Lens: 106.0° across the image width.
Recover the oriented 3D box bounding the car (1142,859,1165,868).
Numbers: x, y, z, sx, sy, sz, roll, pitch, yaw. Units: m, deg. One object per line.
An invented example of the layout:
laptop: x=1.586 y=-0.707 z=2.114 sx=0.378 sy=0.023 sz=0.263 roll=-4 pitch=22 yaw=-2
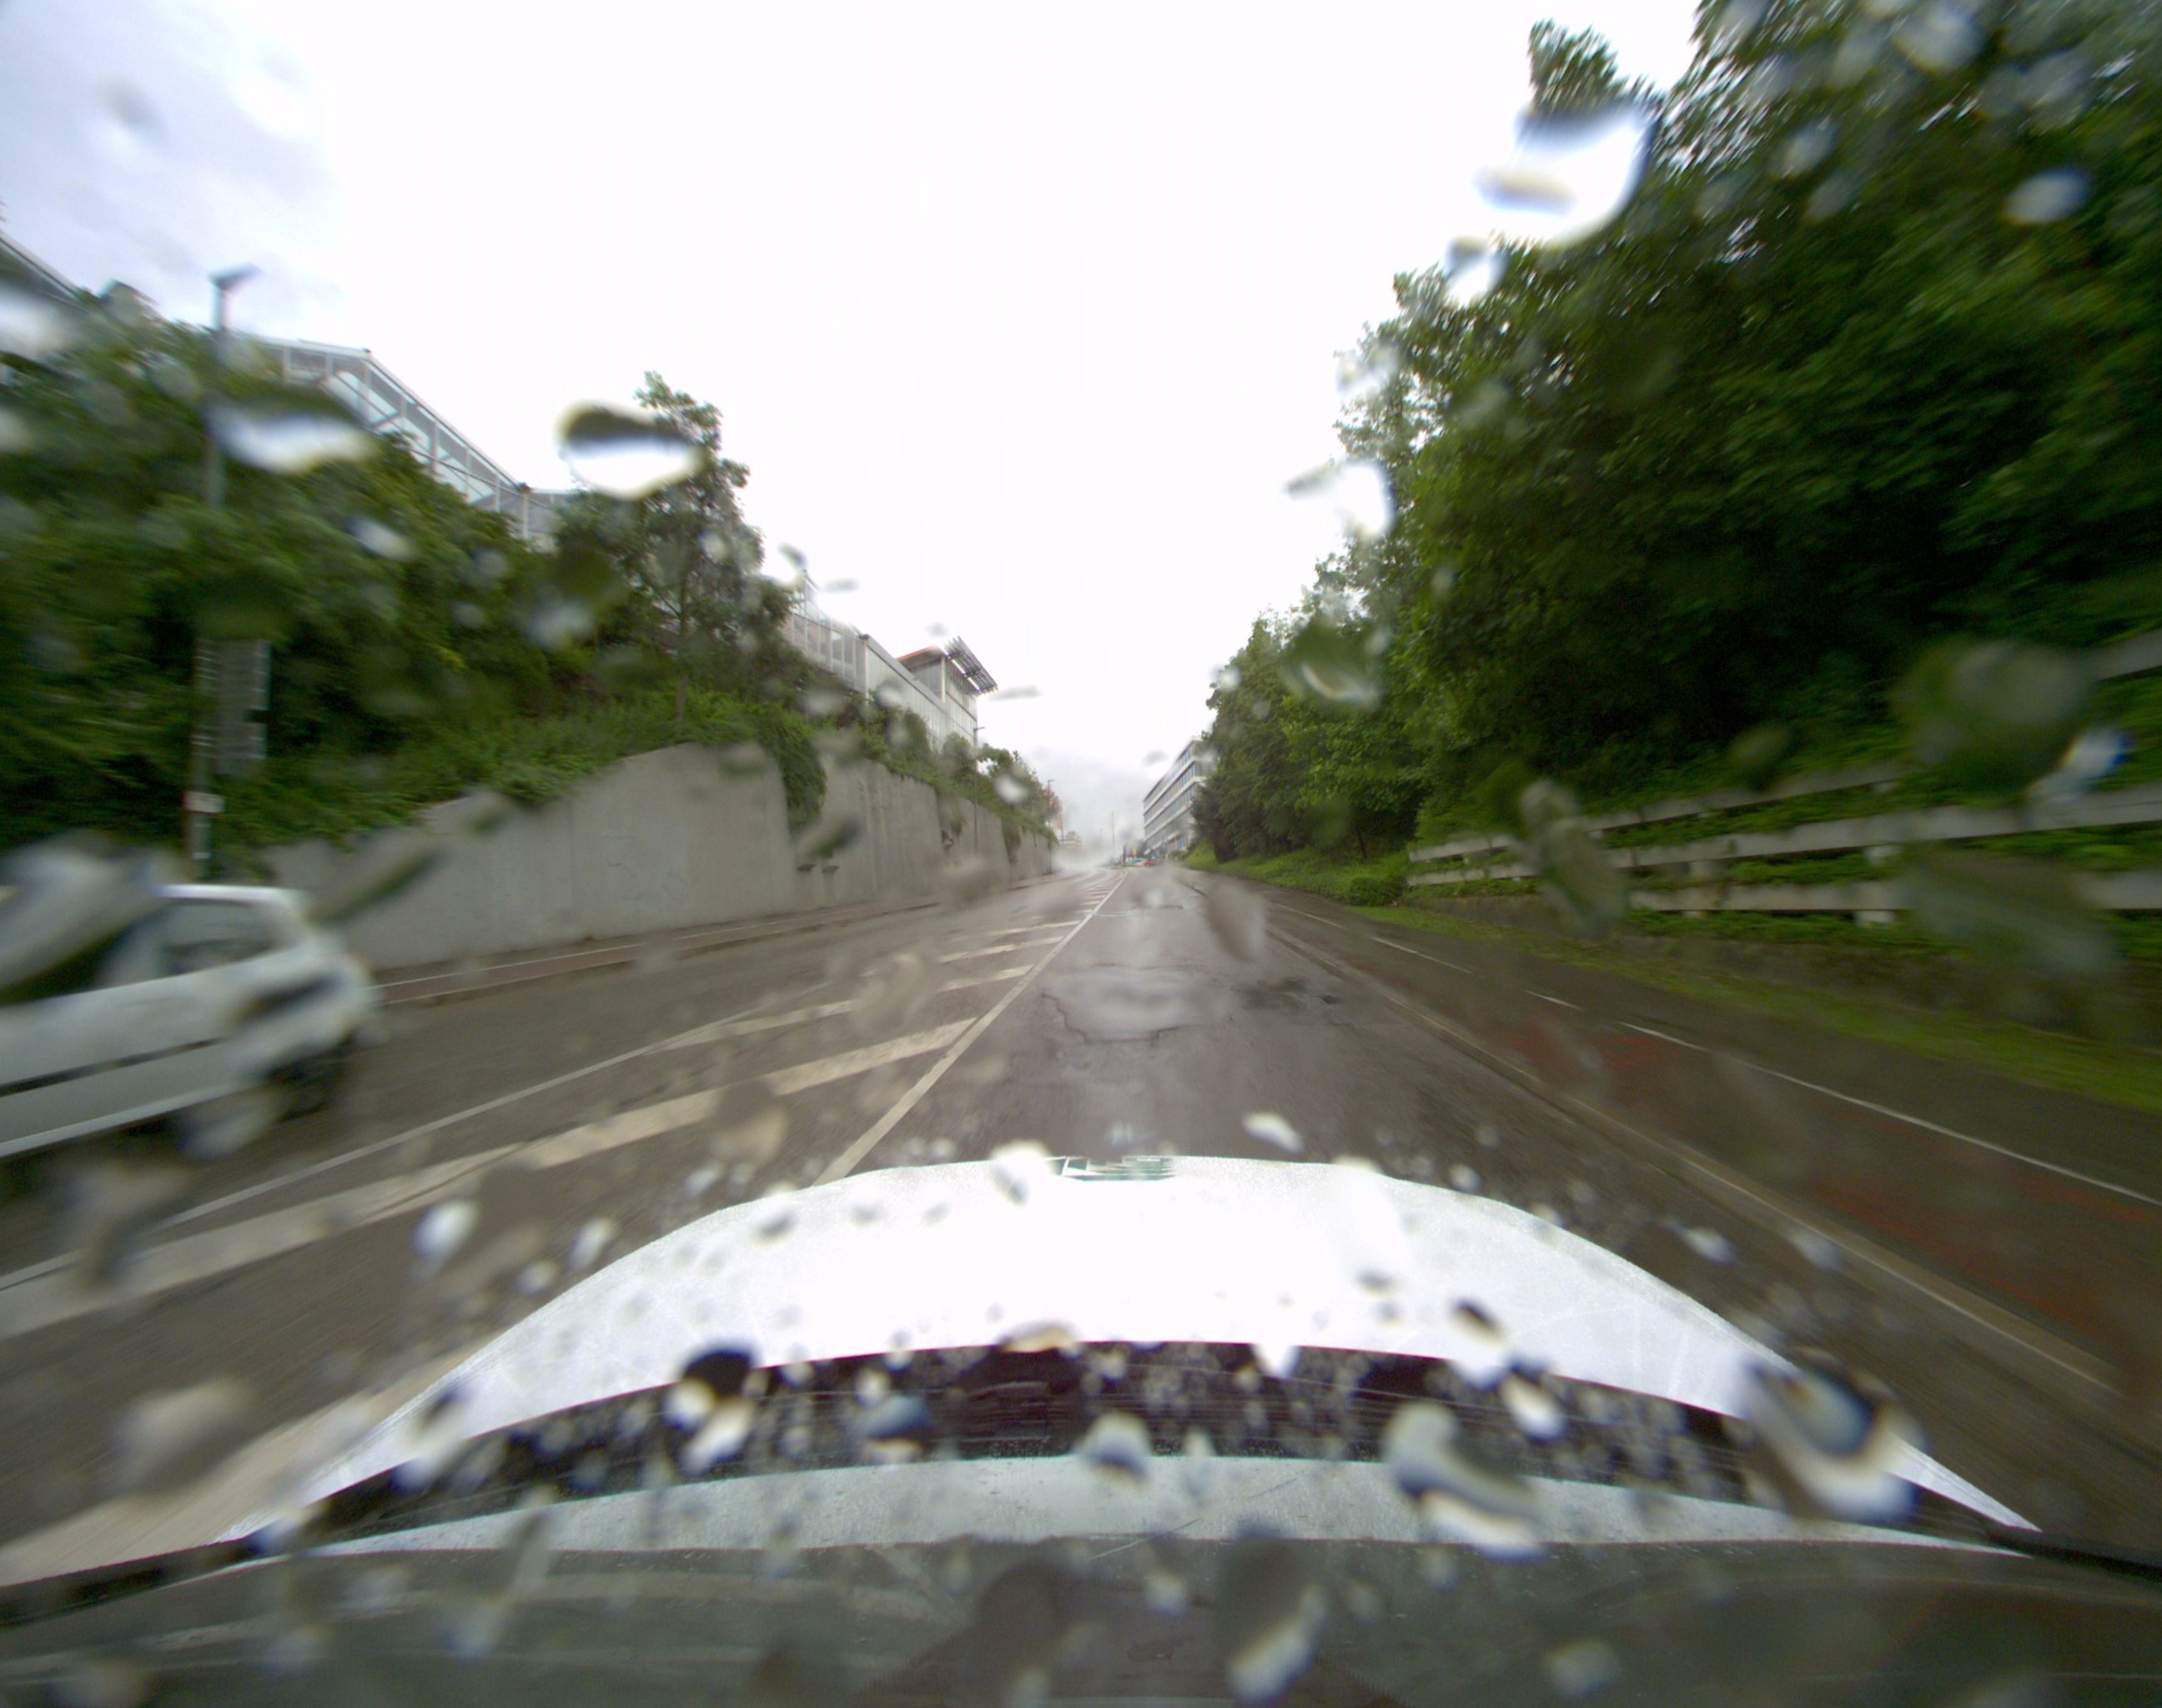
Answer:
car: x=11.936 y=1.527 z=134.061 sx=1.777 sy=1.409 sz=4.243 roll=-2 pitch=-1 yaw=34

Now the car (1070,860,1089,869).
car: x=-0.237 y=1.730 z=133.241 sx=1.646 sy=1.362 sz=4.220 roll=1 pitch=-1 yaw=-21

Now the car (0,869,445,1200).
car: x=-5.570 y=0.855 z=4.023 sx=1.504 sy=1.448 sz=3.824 roll=-2 pitch=-1 yaw=7
